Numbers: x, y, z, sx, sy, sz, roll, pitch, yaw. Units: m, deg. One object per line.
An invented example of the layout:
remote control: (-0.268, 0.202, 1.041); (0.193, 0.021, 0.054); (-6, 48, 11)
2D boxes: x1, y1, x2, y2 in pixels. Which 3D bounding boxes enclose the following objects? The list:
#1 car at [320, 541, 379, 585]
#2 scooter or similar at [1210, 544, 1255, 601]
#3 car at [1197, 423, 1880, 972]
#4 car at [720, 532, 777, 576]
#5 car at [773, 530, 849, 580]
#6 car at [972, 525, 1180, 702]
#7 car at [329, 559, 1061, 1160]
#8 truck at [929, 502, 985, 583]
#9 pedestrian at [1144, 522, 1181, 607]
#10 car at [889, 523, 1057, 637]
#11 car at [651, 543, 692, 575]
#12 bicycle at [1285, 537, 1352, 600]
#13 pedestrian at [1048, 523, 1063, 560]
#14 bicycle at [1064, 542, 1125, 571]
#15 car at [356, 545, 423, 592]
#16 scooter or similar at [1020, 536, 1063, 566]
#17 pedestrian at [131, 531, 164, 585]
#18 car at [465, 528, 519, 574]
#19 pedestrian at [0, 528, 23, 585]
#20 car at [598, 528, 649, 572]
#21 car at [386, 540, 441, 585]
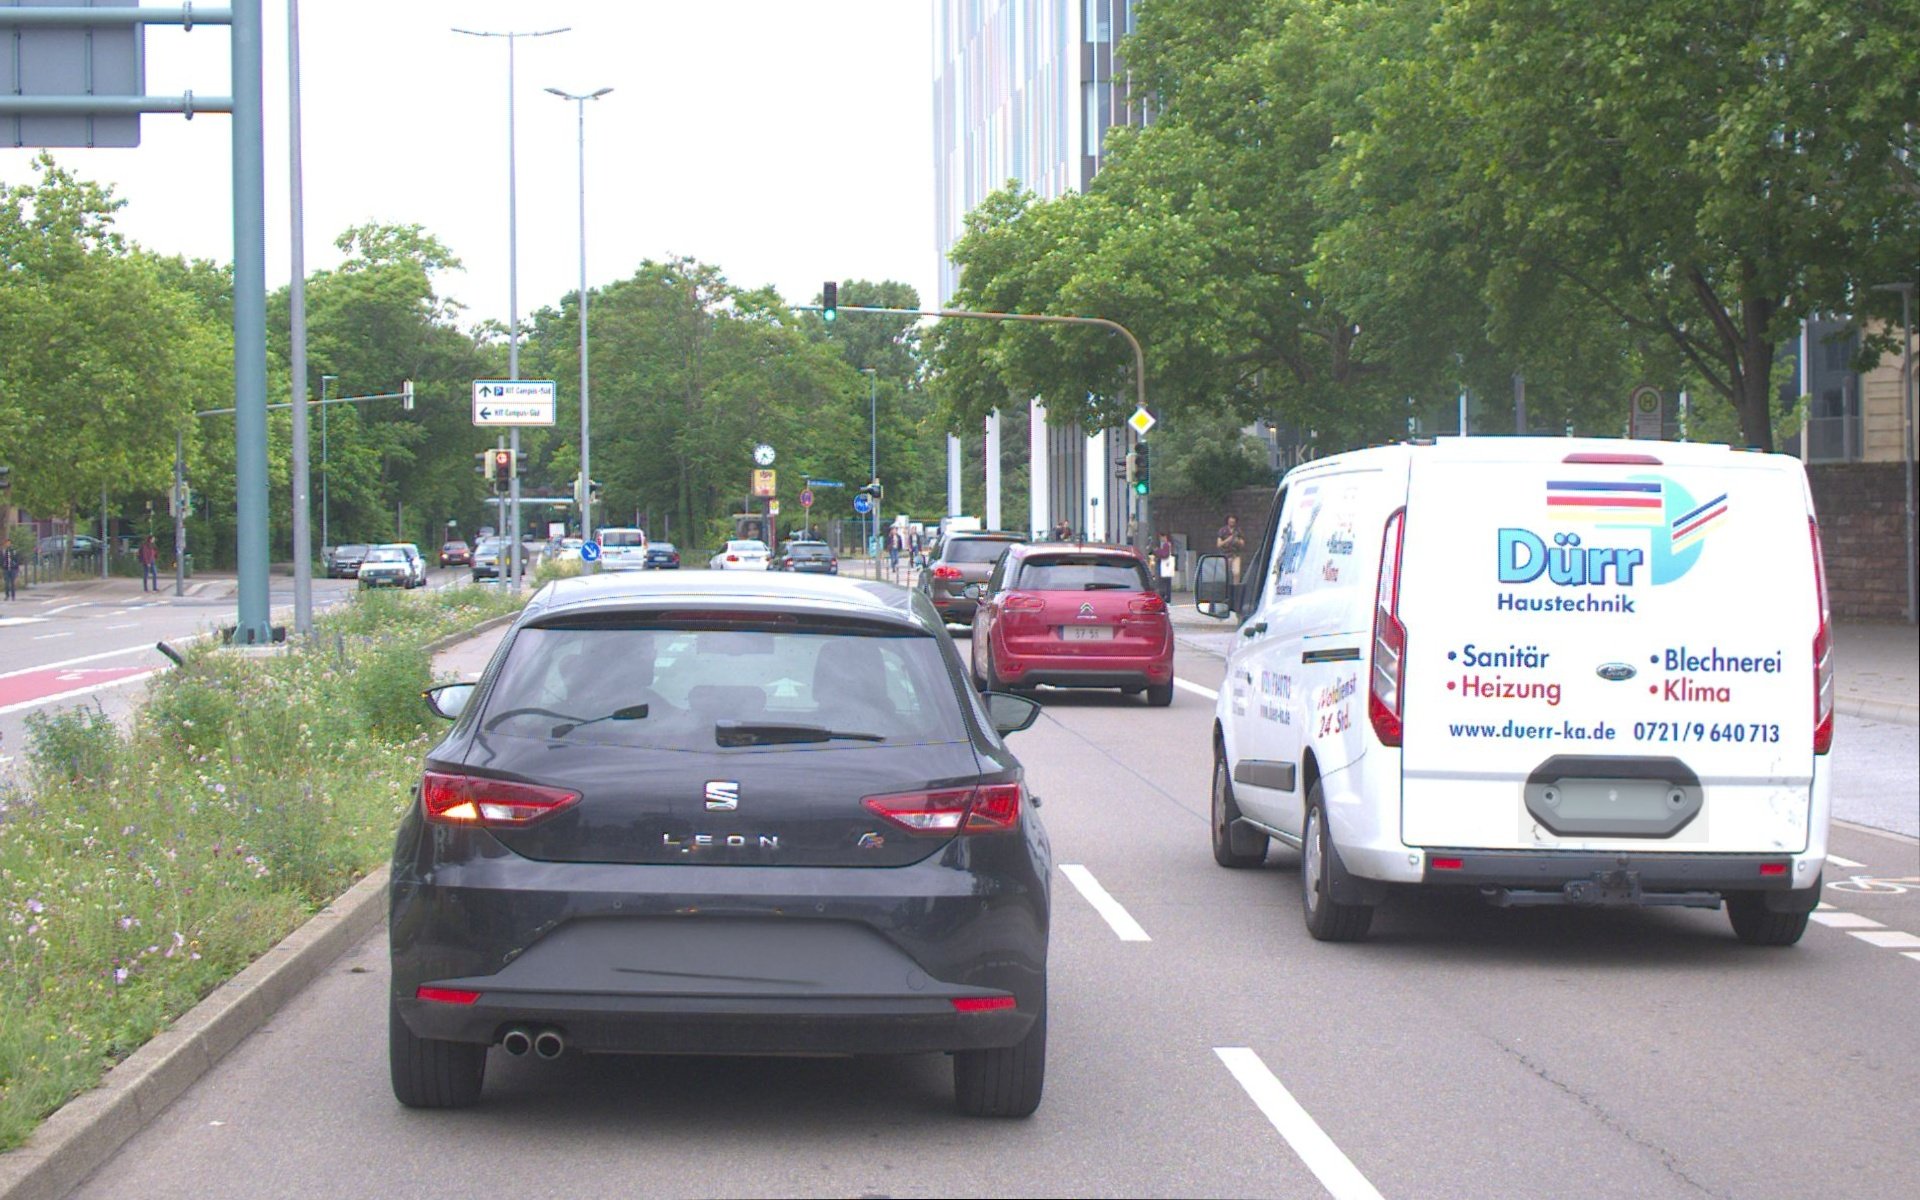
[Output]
car: (-25.488, -1.557, 143.592); (1.906, 1.711, 4.001); (-2, 2, -3)
scooter or similar: (5.945, -0.610, 74.932); (0.432, 1.175, 1.702); (-2, 1, 22)
car: (2.263, 0.311, 14.714); (1.966, 1.965, 4.344); (1, 1, -3)
car: (-7.009, -1.536, 113.750); (1.615, 1.349, 4.001); (-2, 2, -6)
car: (-4.370, -1.337, 100.567); (1.898, 1.349, 3.883); (-2, 2, -6)
car: (1.145, 0.085, 34.536); (1.949, 1.618, 3.749); (1, 2, 1)
car: (-0.620, 0.606, 10.199); (1.753, 1.427, 3.769); (1, 1, 1)
truck: (-0.102, -1.657, 98.266); (1.317, 2.235, 3.402); (-2, 2, -3)
pedestrian: (4.165, -0.734, 70.671); (0.456, 1.733, 0.556); (-3, 2, -42)
car: (0.157, -0.354, 54.733); (1.914, 1.658, 4.116); (-2, 2, -10)
car: (-11.673, -1.662, 138.998); (1.505, 1.189, 3.164); (-2, 2, -6)
bicycle: (7.056, -0.637, 67.706); (0.803, 1.170, 1.955); (-4, 2, -8)
pedestrian: (3.540, -2.165, 127.192); (0.472, 1.357, 0.445); (-2, 1, 7)
bicycle: (4.486, -1.454, 114.737); (1.886, 0.895, 0.697); (-3, 2, -24)
car: (-18.149, -1.027, 109.473); (1.607, 1.376, 3.809); (-2, 2, -3)
scooter or similar: (3.247, -1.946, 136.818); (1.671, 1.103, 0.498); (-3, 2, -34)
pedestrian: (-24.469, -1.275, 103.535); (0.874, 1.580, 0.544); (-2, 2, -9)
car: (-16.332, -1.697, 119.947); (1.763, 1.455, 4.793); (-3, 1, -8)
pedestrian: (-26.372, -1.202, 95.098); (0.789, 1.553, 0.699); (-1, -2, -23)
car: (-12.081, -1.810, 123.258); (1.695, 1.498, 4.011); (-2, 2, -6)
car: (-18.567, -1.285, 116.745); (1.704, 1.426, 4.228); (-2, 2, -10)
